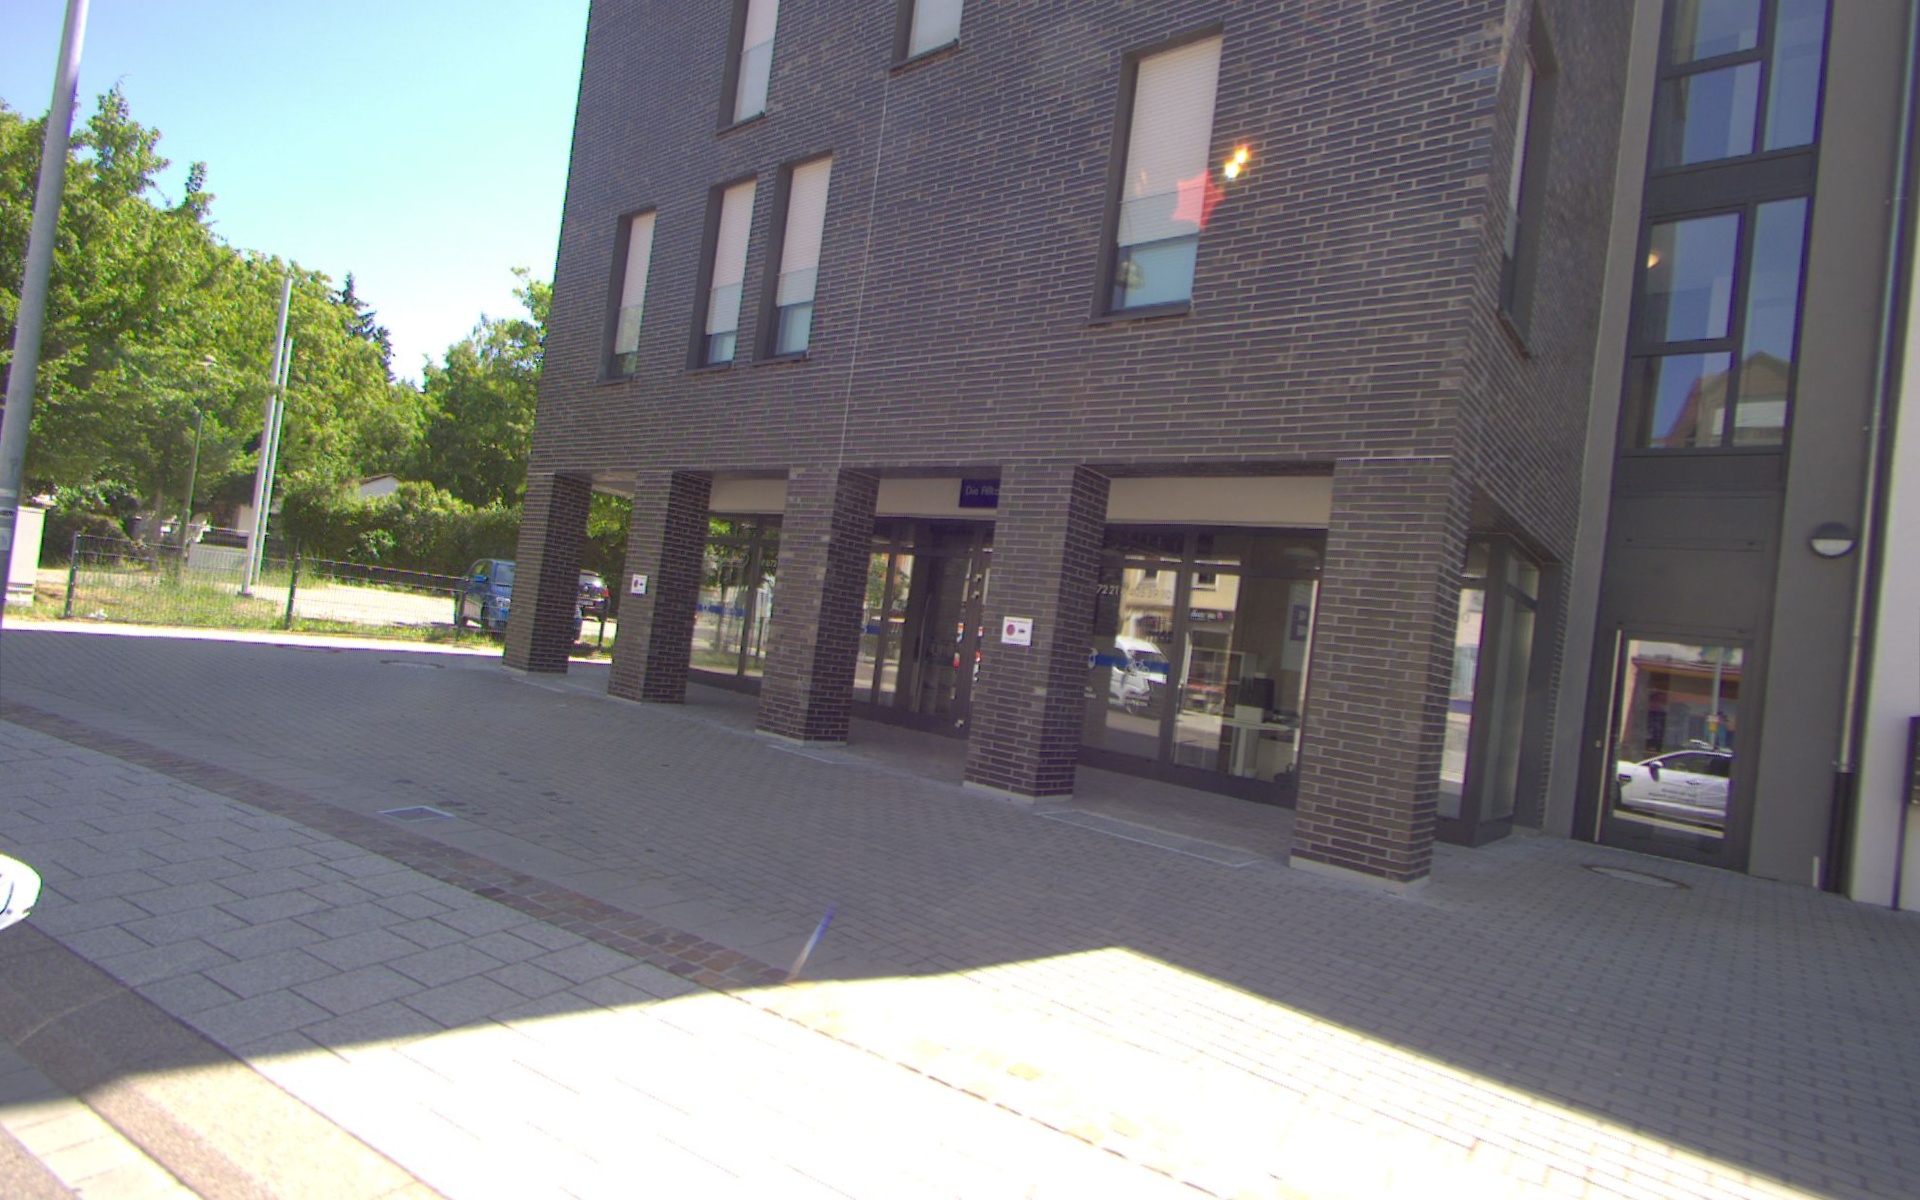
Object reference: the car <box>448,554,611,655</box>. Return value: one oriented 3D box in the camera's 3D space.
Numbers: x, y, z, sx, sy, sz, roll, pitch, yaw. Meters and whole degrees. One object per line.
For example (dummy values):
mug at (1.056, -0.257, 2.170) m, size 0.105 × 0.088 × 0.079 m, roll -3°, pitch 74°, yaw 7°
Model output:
car at (-8.385, 0.029, 19.399) m, size 1.803 × 1.458 × 4.130 m, roll 9°, pitch -2°, yaw -37°

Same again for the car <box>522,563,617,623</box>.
car at (-12.069, -0.239, 30.944) m, size 1.858 × 1.458 × 3.965 m, roll 8°, pitch -1°, yaw -33°
